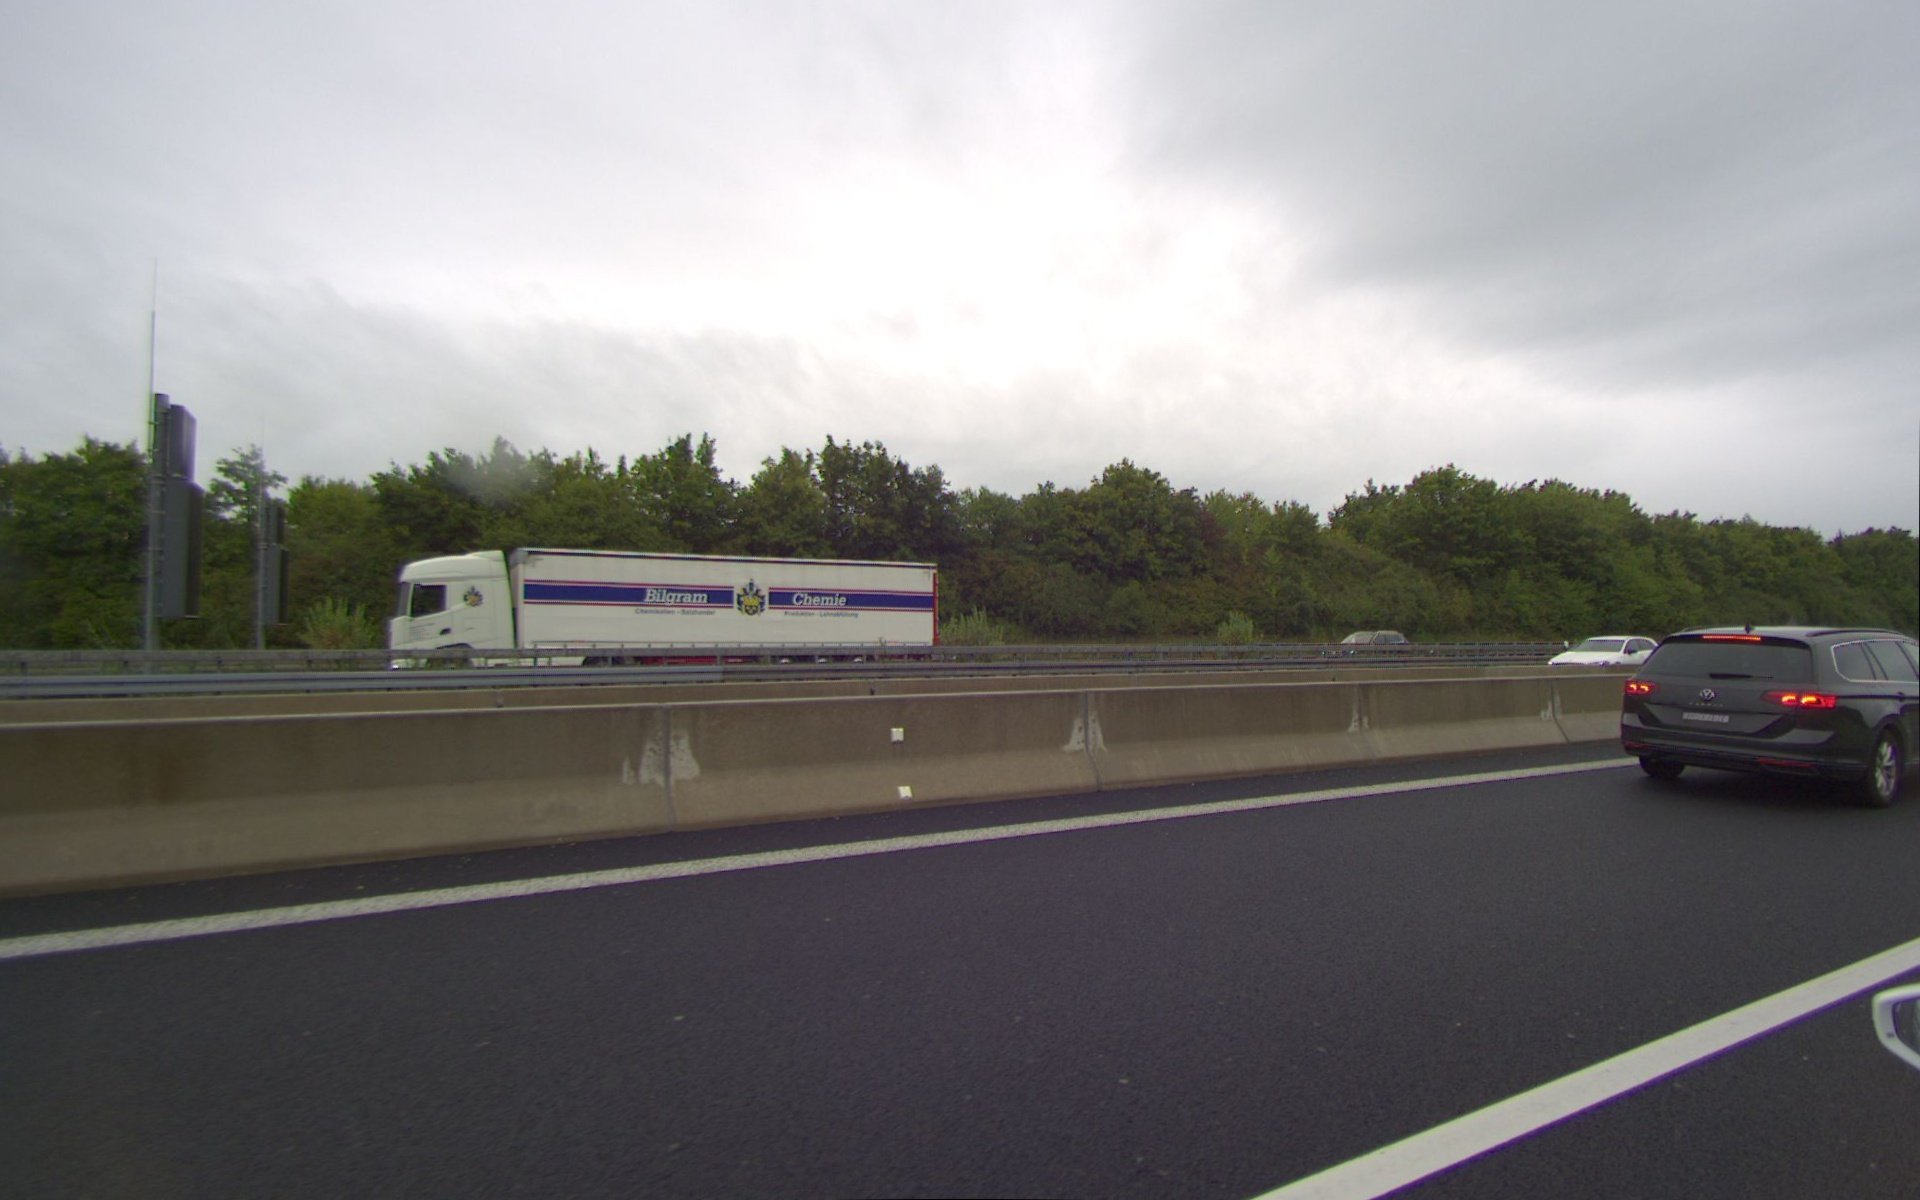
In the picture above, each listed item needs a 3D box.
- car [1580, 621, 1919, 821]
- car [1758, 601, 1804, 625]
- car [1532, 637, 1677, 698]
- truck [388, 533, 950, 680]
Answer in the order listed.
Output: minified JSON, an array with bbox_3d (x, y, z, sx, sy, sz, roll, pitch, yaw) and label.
[{"bbox_3d":[8.149,0.982,9.578,4.745,1.478,1.779,1,0,-30],"label":"car"},{"bbox_3d":[70.045,1.127,85.686,3.952,2.040,1.742,1,-1,-29],"label":"car"},{"bbox_3d":[19.525,1.973,30.410,4.263,1.684,1.984,1,-1,-30],"label":"car"},{"bbox_3d":[-8.431,0.362,32.000,16.933,3.859,3.163,1,-1,-30],"label":"truck"}]
